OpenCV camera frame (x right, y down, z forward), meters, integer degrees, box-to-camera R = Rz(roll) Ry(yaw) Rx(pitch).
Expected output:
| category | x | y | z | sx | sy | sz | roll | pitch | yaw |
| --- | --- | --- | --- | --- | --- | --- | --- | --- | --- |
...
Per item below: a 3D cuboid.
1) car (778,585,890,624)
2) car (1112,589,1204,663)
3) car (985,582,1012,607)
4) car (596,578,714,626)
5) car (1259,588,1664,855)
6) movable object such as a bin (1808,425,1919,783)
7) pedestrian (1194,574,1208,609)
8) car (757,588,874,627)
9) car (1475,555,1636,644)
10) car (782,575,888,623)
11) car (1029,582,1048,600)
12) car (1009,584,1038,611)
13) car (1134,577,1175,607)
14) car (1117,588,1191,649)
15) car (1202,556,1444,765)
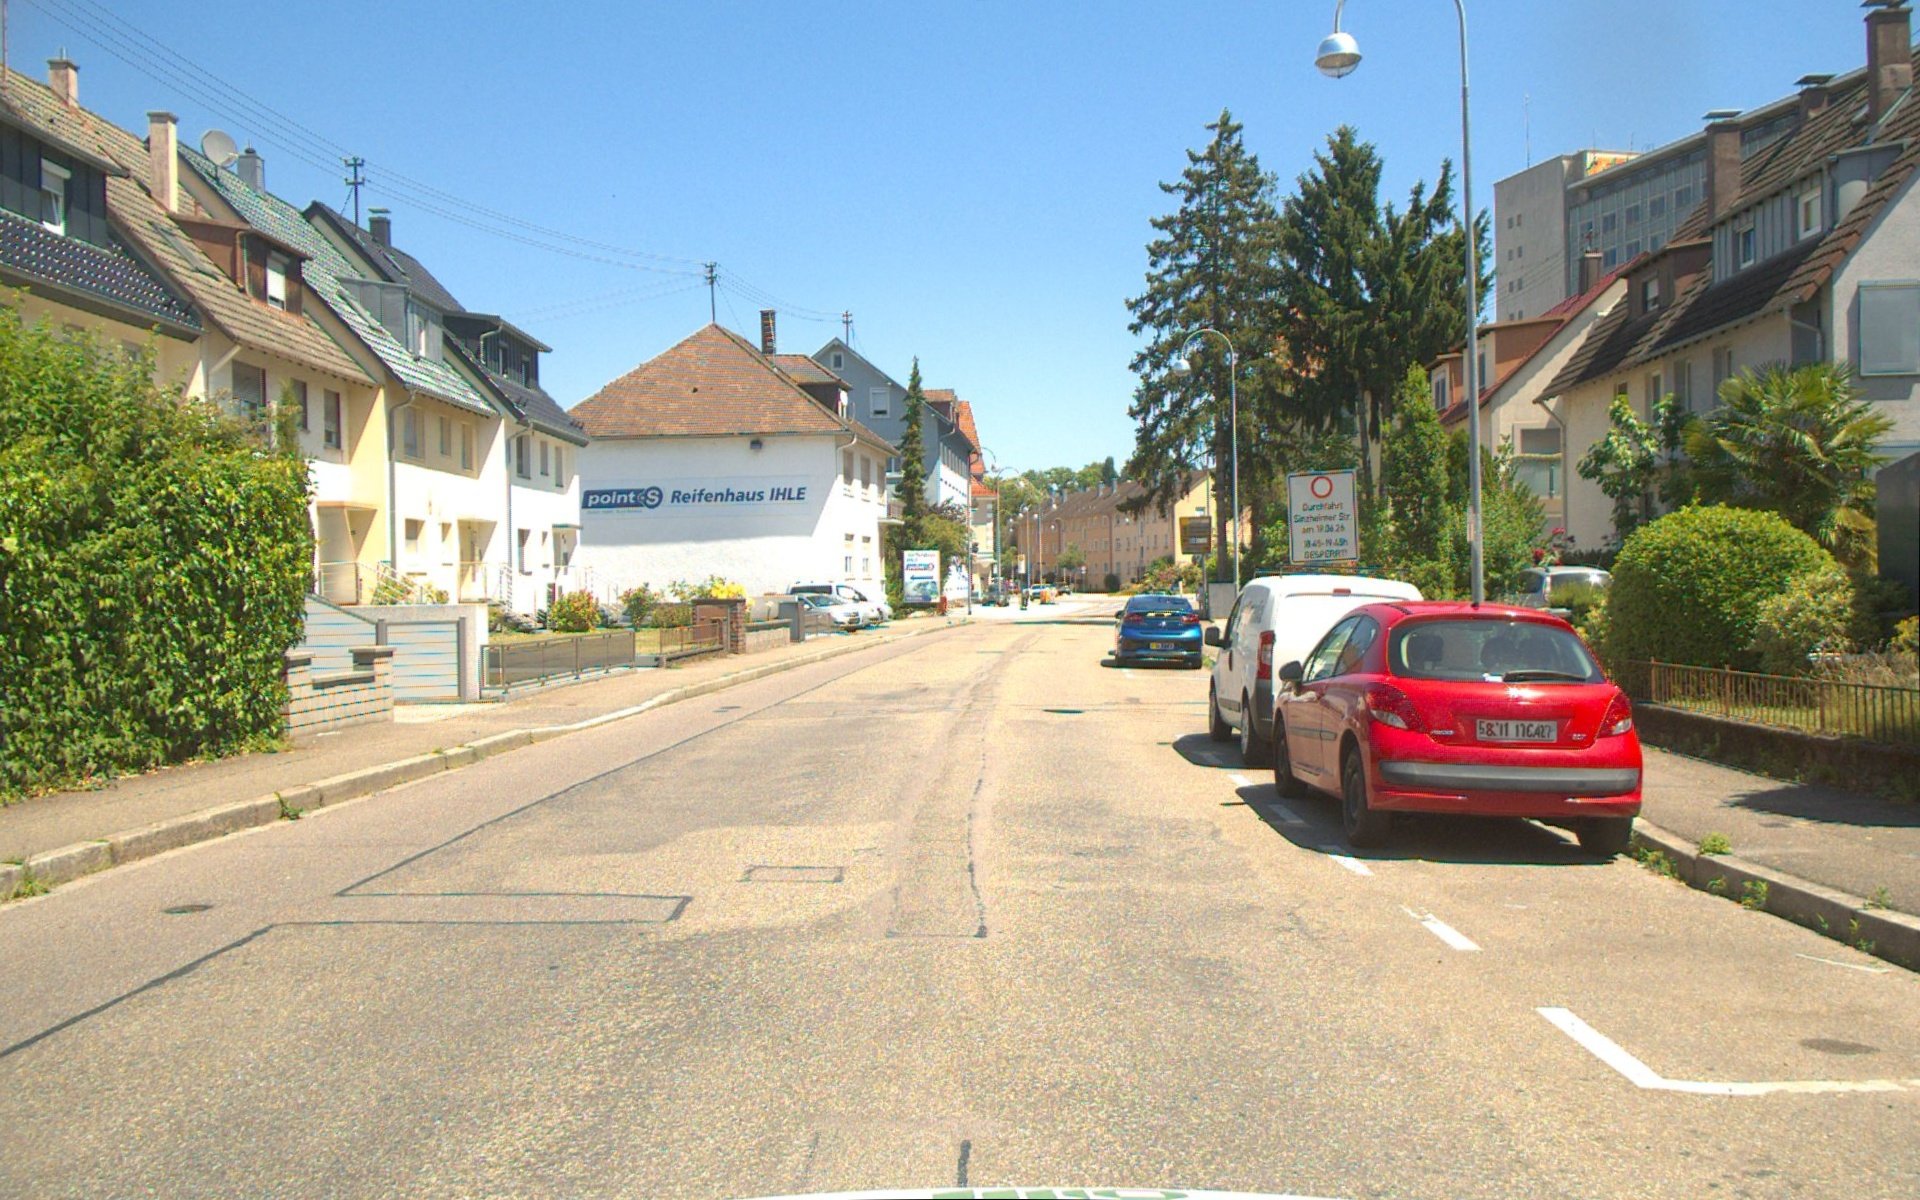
| category | x | y | z | sx | sy | sz | roll | pitch | yaw |
| --- | --- | --- | --- | --- | --- | --- | --- | --- | --- |
| car | -4.782 | 0.172 | 63.100 | 4.042 | 1.418 | 1.829 | -1 | 1 | 3 |
| car | 4.187 | 0.510 | 35.443 | 1.740 | 1.430 | 4.289 | 1 | 1 | 4 |
| car | 2.696 | -0.402 | 115.435 | 1.720 | 1.685 | 4.002 | 0 | 0 | 4 |
| car | -10.095 | 0.039 | 54.634 | 3.926 | 1.536 | 1.791 | 1 | 1 | 40 |
| car | 3.212 | 0.682 | 11.404 | 1.629 | 1.480 | 4.001 | 1 | 0 | 1 |
| movable object such as a bin | 9.021 | 0.025 | 13.748 | 3.081 | 2.795 | 1.707 | 0 | 0 | -1 |
| pedestrian | 12.269 | -0.431 | 84.239 | 0.674 | 1.801 | 0.692 | 0 | -1 | 11 |
| car | -5.255 | 0.261 | 60.062 | 4.063 | 1.367 | 1.903 | 0 | 1 | 38 |
| car | 11.526 | -0.008 | 32.278 | 1.757 | 1.597 | 4.001 | -1 | 0 | 1 |
| car | -4.914 | -0.055 | 65.519 | 4.044 | 1.805 | 1.829 | -1 | 1 | 0 |
| car | 7.256 | -0.860 | 153.047 | 1.563 | 1.634 | 3.409 | 0 | 0 | -1 |
| car | 4.147 | -0.174 | 107.497 | 1.720 | 1.684 | 4.002 | -1 | 1 | 4 |
| car | 10.381 | -0.439 | 88.242 | 1.756 | 1.536 | 4.004 | 0 | 1 | 13 |
| car | 4.895 | 0.426 | 42.100 | 1.688 | 1.444 | 4.016 | 1 | 1 | 4 |
| car | 3.461 | 0.539 | 16.441 | 1.629 | 1.786 | 4.001 | 1 | 0 | 2 |
